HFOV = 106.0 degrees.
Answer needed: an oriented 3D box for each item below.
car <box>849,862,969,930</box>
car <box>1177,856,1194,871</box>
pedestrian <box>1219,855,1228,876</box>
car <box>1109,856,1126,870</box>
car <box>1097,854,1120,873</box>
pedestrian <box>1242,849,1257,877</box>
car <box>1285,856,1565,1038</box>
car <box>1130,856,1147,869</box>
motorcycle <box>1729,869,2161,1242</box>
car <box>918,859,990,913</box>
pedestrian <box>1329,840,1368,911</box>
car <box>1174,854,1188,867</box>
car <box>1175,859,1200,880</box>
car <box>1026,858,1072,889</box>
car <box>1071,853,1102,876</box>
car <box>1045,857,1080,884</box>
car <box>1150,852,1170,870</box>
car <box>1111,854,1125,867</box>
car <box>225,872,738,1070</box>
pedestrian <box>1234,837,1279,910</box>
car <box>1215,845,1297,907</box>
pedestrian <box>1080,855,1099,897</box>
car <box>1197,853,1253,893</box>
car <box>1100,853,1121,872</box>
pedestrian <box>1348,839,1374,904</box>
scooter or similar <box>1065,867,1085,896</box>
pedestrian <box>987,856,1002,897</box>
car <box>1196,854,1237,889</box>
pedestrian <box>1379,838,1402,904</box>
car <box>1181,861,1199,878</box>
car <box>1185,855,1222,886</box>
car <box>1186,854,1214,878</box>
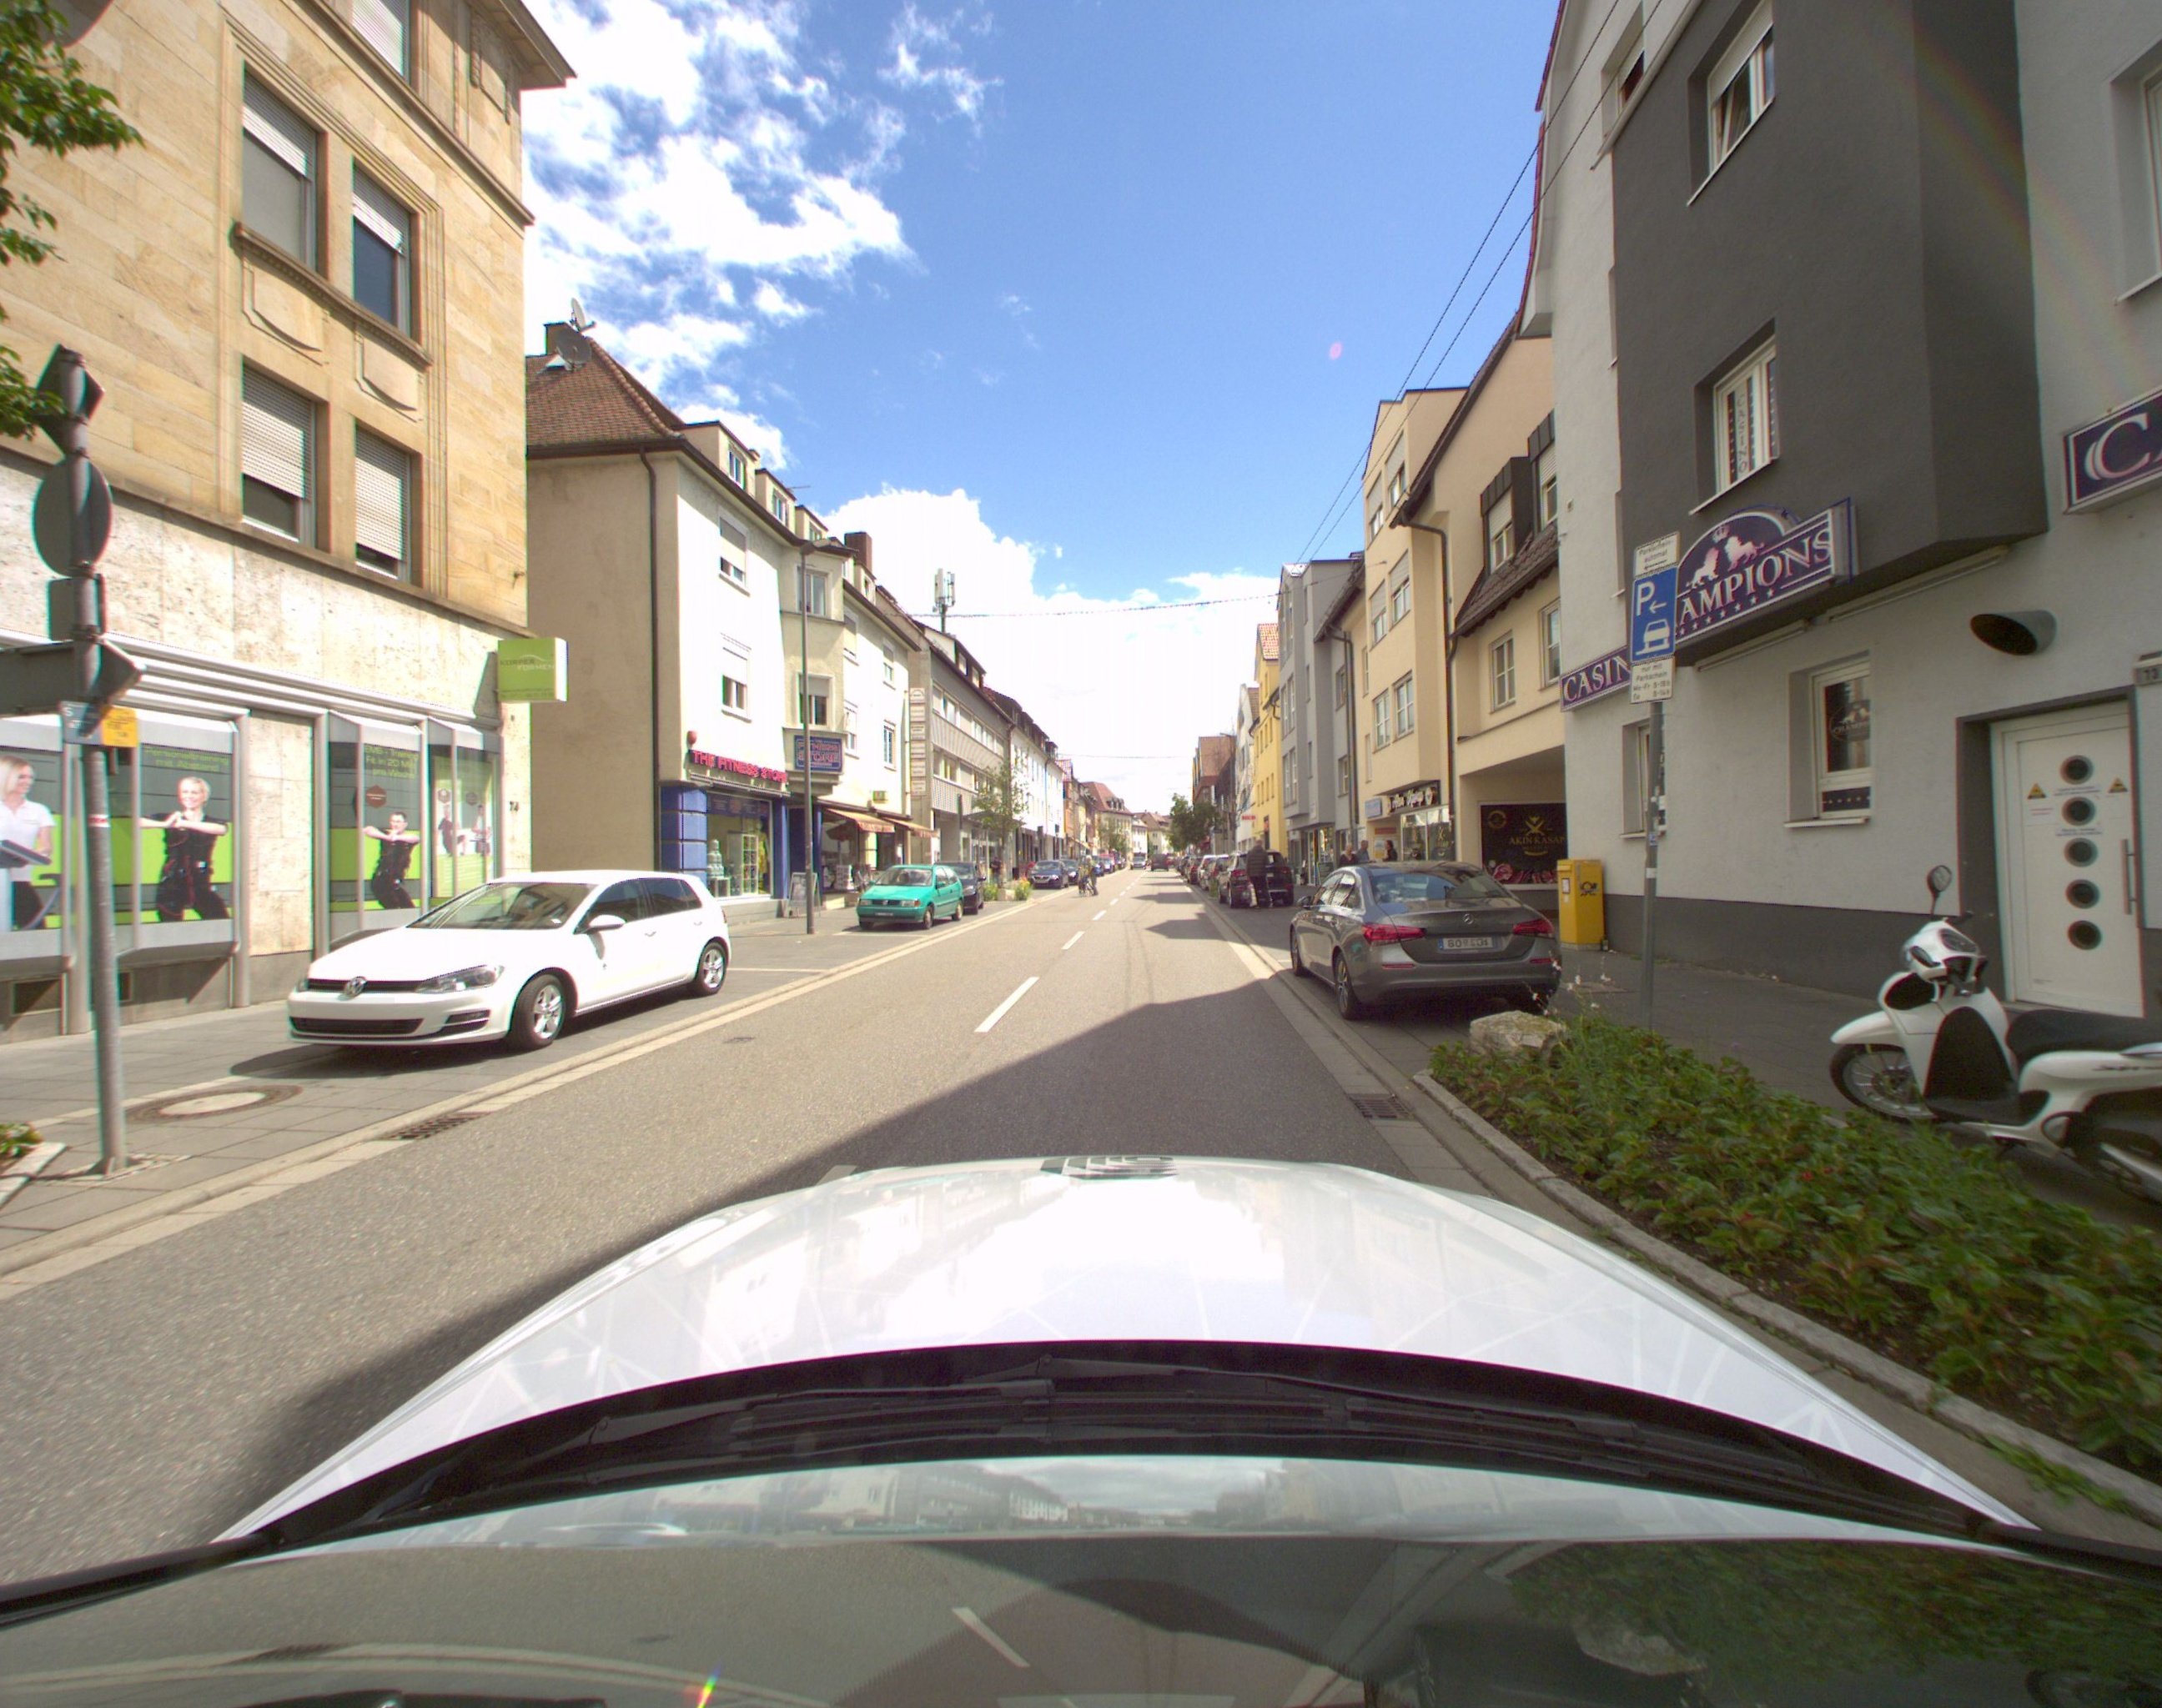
[{"bbox_3d":[-3.905,0.924,19.065,1.577,1.414,3.676,0,-1,8],"label":"car"},{"bbox_3d":[10.763,1.026,84.190,1.712,1.494,4.116,0,-1,7],"label":"car"},{"bbox_3d":[12.096,0.988,69.080,0.737,1.737,0.758,0,-1,6],"label":"pedestrian"},{"bbox_3d":[4.411,1.051,98.539,1.790,1.598,4.396,0,0,6],"label":"car"},{"bbox_3d":[2.647,0.937,78.169,1.806,1.755,4.472,0,-1,7],"label":"car"},{"bbox_3d":[9.664,0.526,46.662,0.746,1.553,0.727,-1,-1,5],"label":"pedestrian"},{"bbox_3d":[3.280,0.771,8.673,1.697,1.420,4.327,0,-1,8],"label":"car"},{"bbox_3d":[7.035,1.041,99.407,1.896,1.563,4.653,0,-1,6],"label":"car"},{"bbox_3d":[4.019,0.700,3.483,0.656,1.259,2.377,1,-1,2],"label":"motorcycle"},{"bbox_3d":[-3.627,0.899,23.782,1.592,1.446,3.554,1,-1,-1],"label":"car"},{"bbox_3d":[6.609,0.534,20.137,0.740,1.718,0.656,-1,-1,4],"label":"pedestrian"},{"bbox_3d":[11.701,0.757,95.191,1.601,1.532,3.802,-2,-1,7],"label":"car"},{"bbox_3d":[8.382,1.245,64.235,1.713,1.577,4.113,0,-1,4],"label":"car"},{"bbox_3d":[-1.602,0.980,42.307,1.781,1.513,4.719,0,-1,5],"label":"car"},{"bbox_3d":[0.453,0.866,65.153,1.806,1.755,4.679,0,-1,8],"label":"car"},{"bbox_3d":[-1.054,0.942,48.057,1.783,1.503,4.180,1,0,2],"label":"car"},{"bbox_3d":[8.432,0.781,86.858,2.030,1.848,5.007,0,-1,6],"label":"car"},{"bbox_3d":[4.737,0.857,104.156,1.792,1.604,4.354,-1,0,3],"label":"car"},{"bbox_3d":[-5.205,0.886,7.930,1.838,1.398,4.039,1,-1,3],"label":"car"},{"bbox_3d":[4.665,0.514,21.756,0.971,1.864,0.865,-3,-2,4],"label":"pedestrian"},{"bbox_3d":[5.095,0.617,24.226,1.791,1.603,4.209,-3,0,4],"label":"car"},{"bbox_3d":[0.328,0.873,32.267,0.728,1.618,0.651,1,-1,1],"label":"pedestrian"},{"bbox_3d":[5.915,0.775,33.836,1.682,1.440,4.298,-3,-1,2],"label":"car"},{"bbox_3d":[3.141,0.941,86.219,1.807,1.889,4.849,0,-1,6],"label":"car"},{"bbox_3d":[7.598,0.471,22.116,0.533,1.718,0.607,0,-1,4],"label":"pedestrian"},{"bbox_3d":[-0.244,1.083,32.262,0.779,1.126,0.630,1,-1,1],"label":"scooter or similar"},{"bbox_3d":[-3.822,0.995,35.972,0.546,1.757,0.729,1,-1,2],"label":"pedestrian"},{"bbox_3d":[6.505,0.838,39.417,1.681,1.574,3.761,0,-1,5],"label":"car"},{"bbox_3d":[8.257,0.451,21.739,0.434,1.718,0.537,1,-1,3],"label":"pedestrian"},{"bbox_3d":[10.505,1.521,78.666,1.712,1.577,4.437,0,-1,7],"label":"car"},{"bbox_3d":[6.600,0.855,44.287,1.681,1.472,4.530,1,1,5],"label":"car"},{"bbox_3d":[7.936,0.807,54.555,1.712,1.476,4.362,0,-1,7],"label":"car"}]
